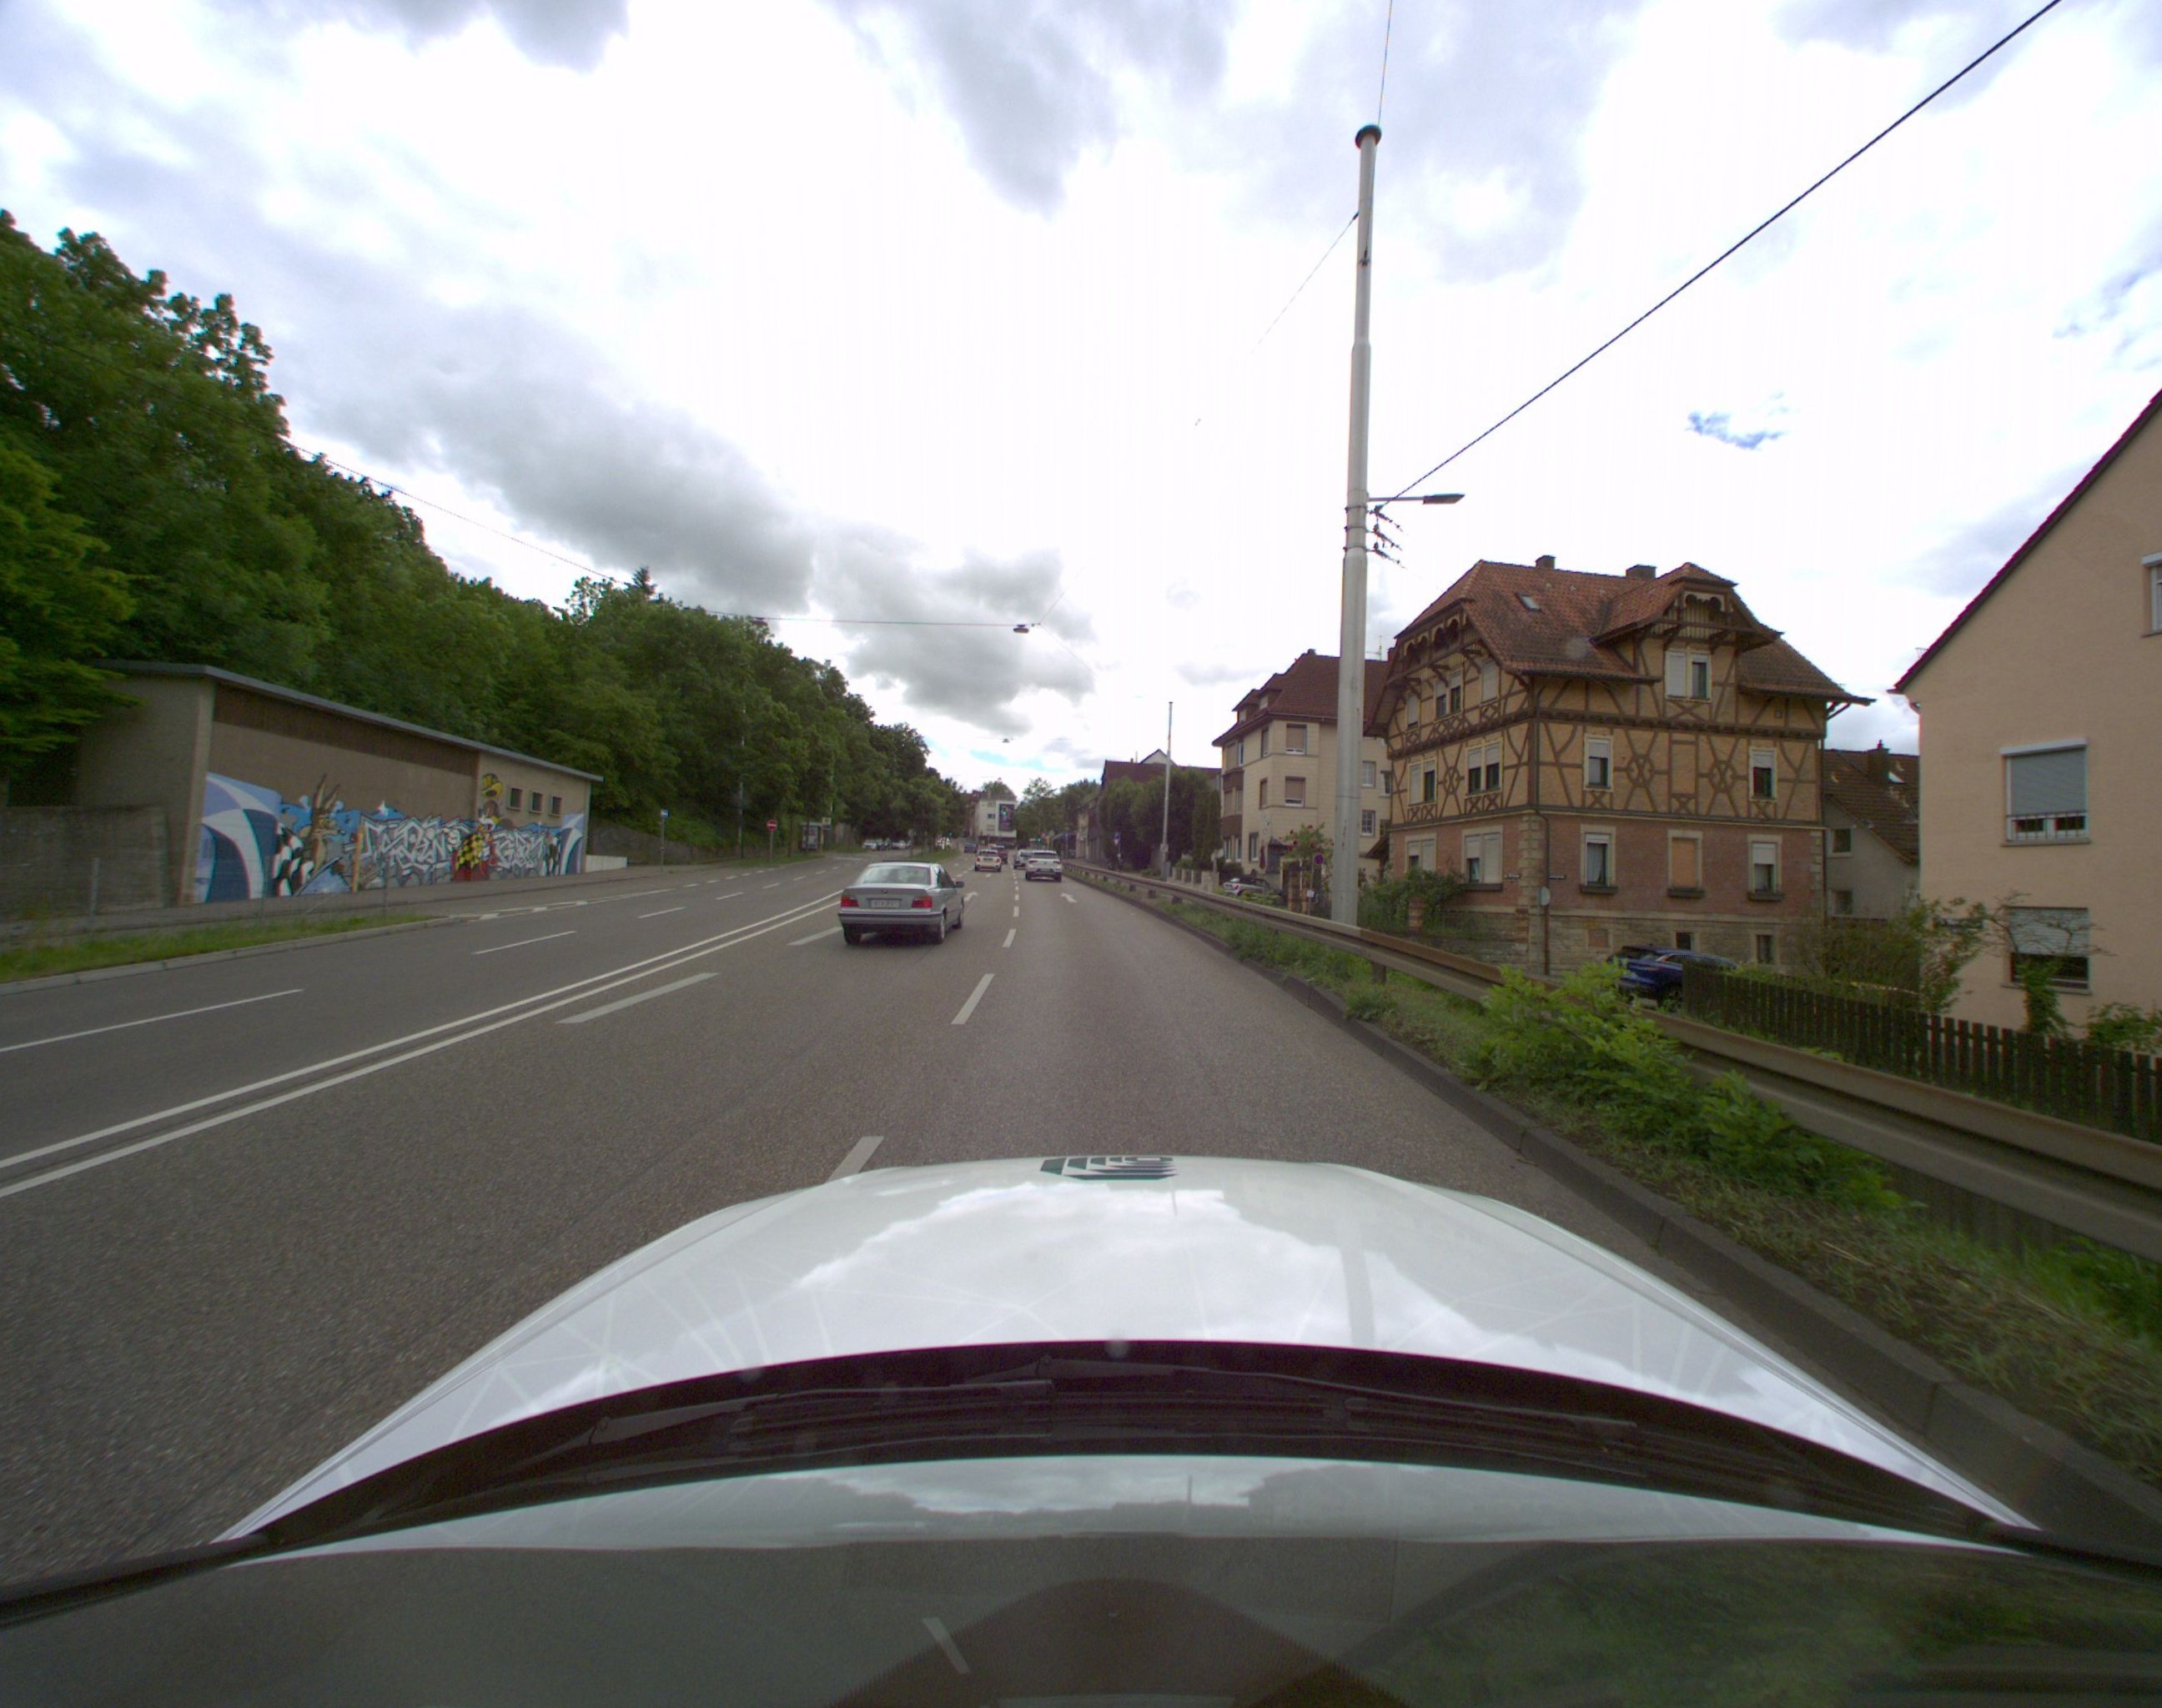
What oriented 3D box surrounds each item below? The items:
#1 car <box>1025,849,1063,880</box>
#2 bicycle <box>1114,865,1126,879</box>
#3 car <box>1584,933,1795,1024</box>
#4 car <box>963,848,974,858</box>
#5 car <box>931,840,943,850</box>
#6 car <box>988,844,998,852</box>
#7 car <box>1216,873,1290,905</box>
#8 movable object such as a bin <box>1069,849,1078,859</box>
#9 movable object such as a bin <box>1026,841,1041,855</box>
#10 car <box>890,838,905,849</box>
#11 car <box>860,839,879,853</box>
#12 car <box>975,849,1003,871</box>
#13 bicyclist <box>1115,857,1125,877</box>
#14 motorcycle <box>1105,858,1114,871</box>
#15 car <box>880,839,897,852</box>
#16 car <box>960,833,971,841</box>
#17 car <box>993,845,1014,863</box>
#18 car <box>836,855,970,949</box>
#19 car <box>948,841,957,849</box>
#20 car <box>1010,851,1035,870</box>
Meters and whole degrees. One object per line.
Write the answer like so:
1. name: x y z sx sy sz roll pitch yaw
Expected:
1. car: -1.942 0.515 42.039 1.795 1.519 3.449 0 0 -6
2. bicycle: 3.081 1.435 64.836 0.566 1.063 2.000 -1 1 -8
3. car: 15.480 3.151 20.835 3.985 1.573 1.995 7 0 -8
4. car: -17.743 -0.167 128.081 1.722 1.583 3.446 0 0 -9
5. car: -26.892 -1.742 152.109 1.858 1.670 4.269 4 1 -7
6. car: -15.245 -1.084 141.095 1.721 1.376 3.448 0 0 -7
7. car: 9.510 1.947 45.091 3.617 1.434 1.692 4 0 -22
8. movable object such as a bin: -1.170 0.055 121.756 1.194 1.408 0.709 4 0 -7
9. movable object such as a bin: -7.197 -0.936 124.256 1.895 1.870 1.521 4 1 -15
10. car: -29.207 -1.614 129.712 1.859 1.593 4.268 4 1 -8
11. car: -27.890 -1.127 107.504 1.859 1.670 4.268 4 1 -8
12. car: -6.140 0.371 54.118 1.722 1.376 3.445 0 0 -9
13. bicyclist: 3.091 1.021 64.787 0.566 1.525 0.956 -1 1 -8
14. motorcycle: 2.764 1.020 79.018 0.607 1.161 2.037 1 1 -5
15. car: -27.823 -1.235 117.845 1.859 1.670 4.268 4 1 -8
16. car: -31.950 -4.800 225.299 2.506 2.013 5.172 4 1 -5
17. car: -7.311 0.037 76.466 1.722 1.640 3.446 0 0 -9
18. car: -3.087 0.757 15.030 1.630 1.382 4.616 0 1 -2
19. car: -27.915 -2.012 177.196 1.859 1.541 4.268 4 1 -8
20. car: -4.531 0.482 62.408 1.721 1.376 3.448 0 0 -7
